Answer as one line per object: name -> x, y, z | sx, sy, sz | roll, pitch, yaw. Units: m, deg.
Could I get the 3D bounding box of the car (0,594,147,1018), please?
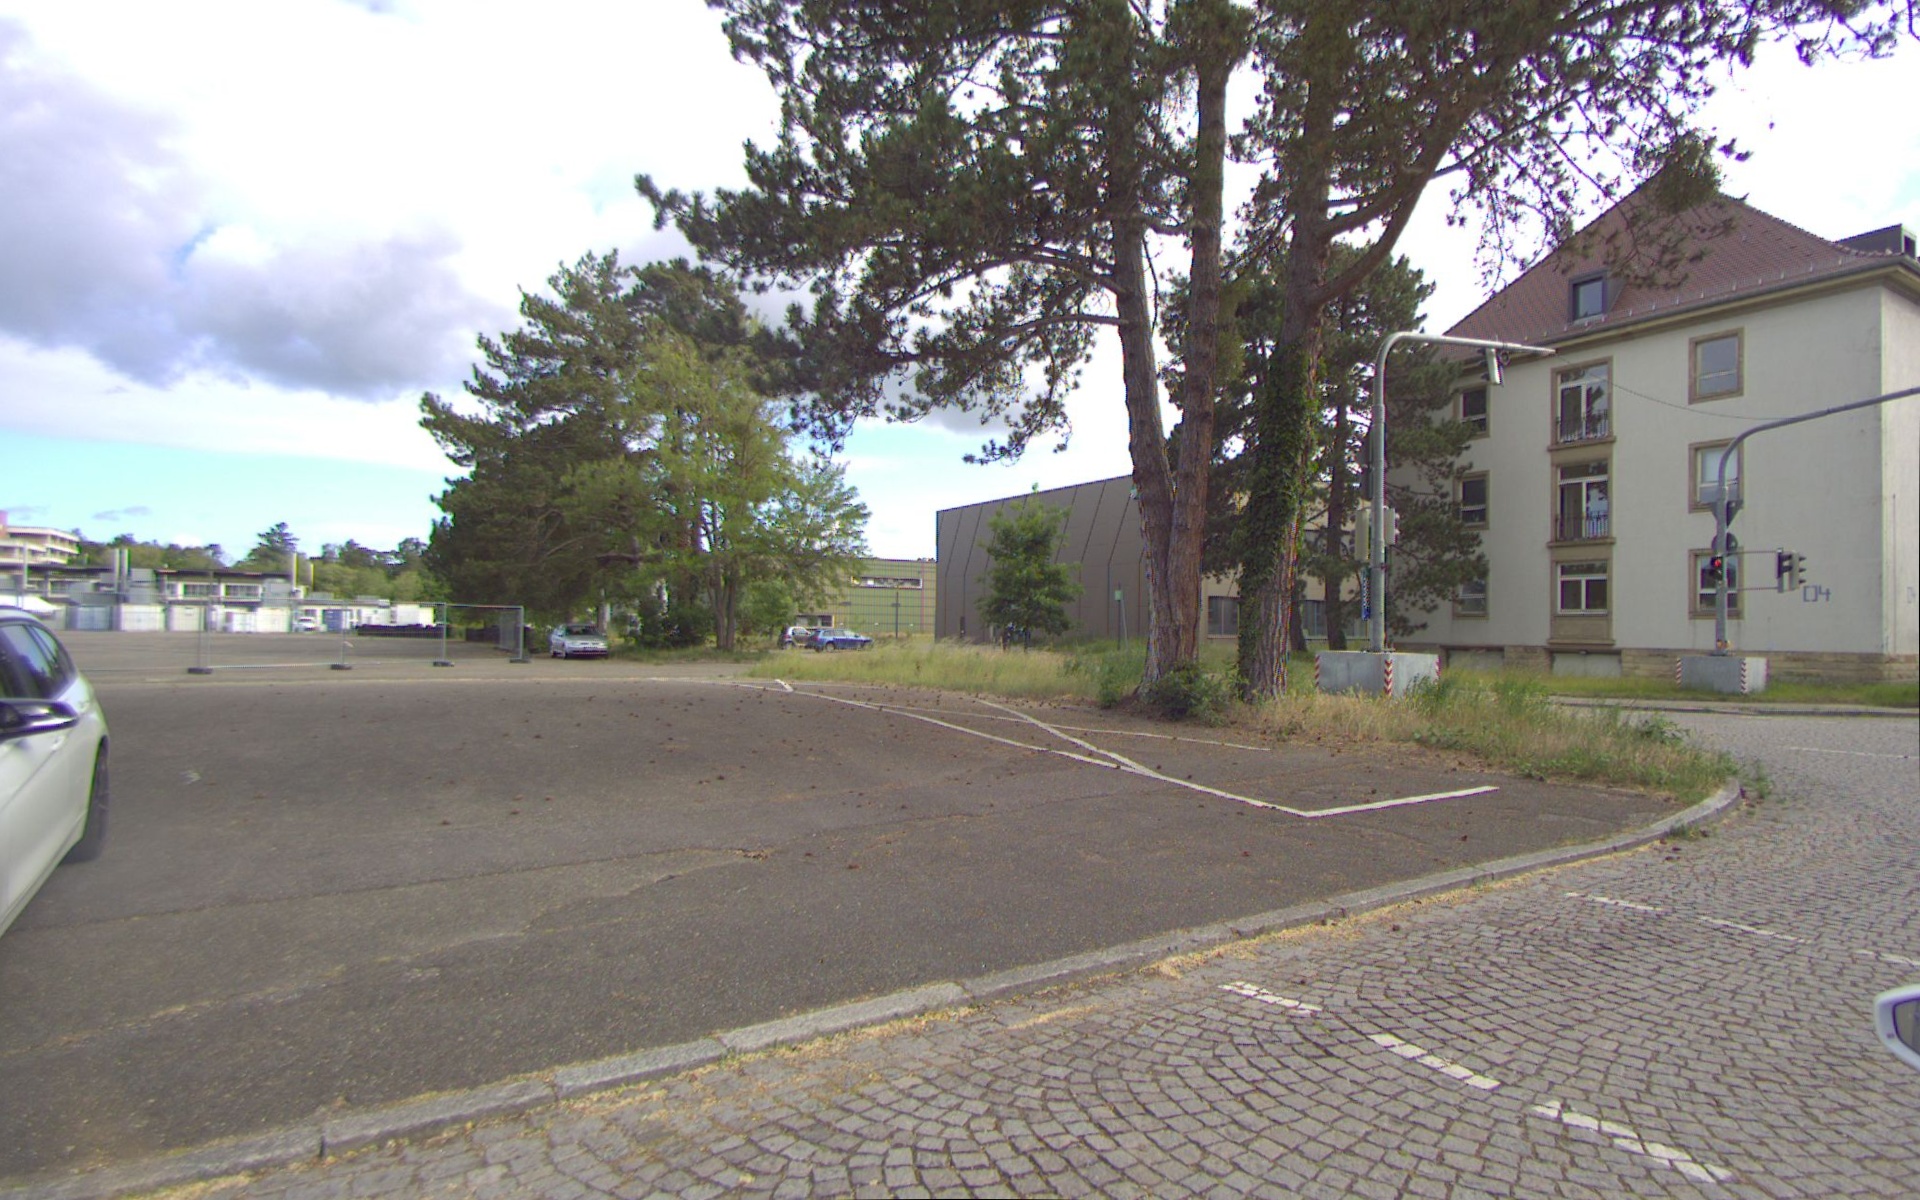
car -> -4.975, 0.752, 4.214 | 1.893, 1.459, 4.777 | 2, 1, -33

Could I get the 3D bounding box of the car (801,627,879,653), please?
car -> -7.554, 2.490, 63.443 | 4.487, 1.552, 1.981 | 0, -1, -35

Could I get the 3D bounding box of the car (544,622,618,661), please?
car -> -15.620, 1.684, 41.227 | 1.905, 1.496, 4.328 | 2, -2, -34

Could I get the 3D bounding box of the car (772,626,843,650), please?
car -> -10.650, 2.643, 70.191 | 4.480, 1.552, 1.983 | 0, -1, -31
